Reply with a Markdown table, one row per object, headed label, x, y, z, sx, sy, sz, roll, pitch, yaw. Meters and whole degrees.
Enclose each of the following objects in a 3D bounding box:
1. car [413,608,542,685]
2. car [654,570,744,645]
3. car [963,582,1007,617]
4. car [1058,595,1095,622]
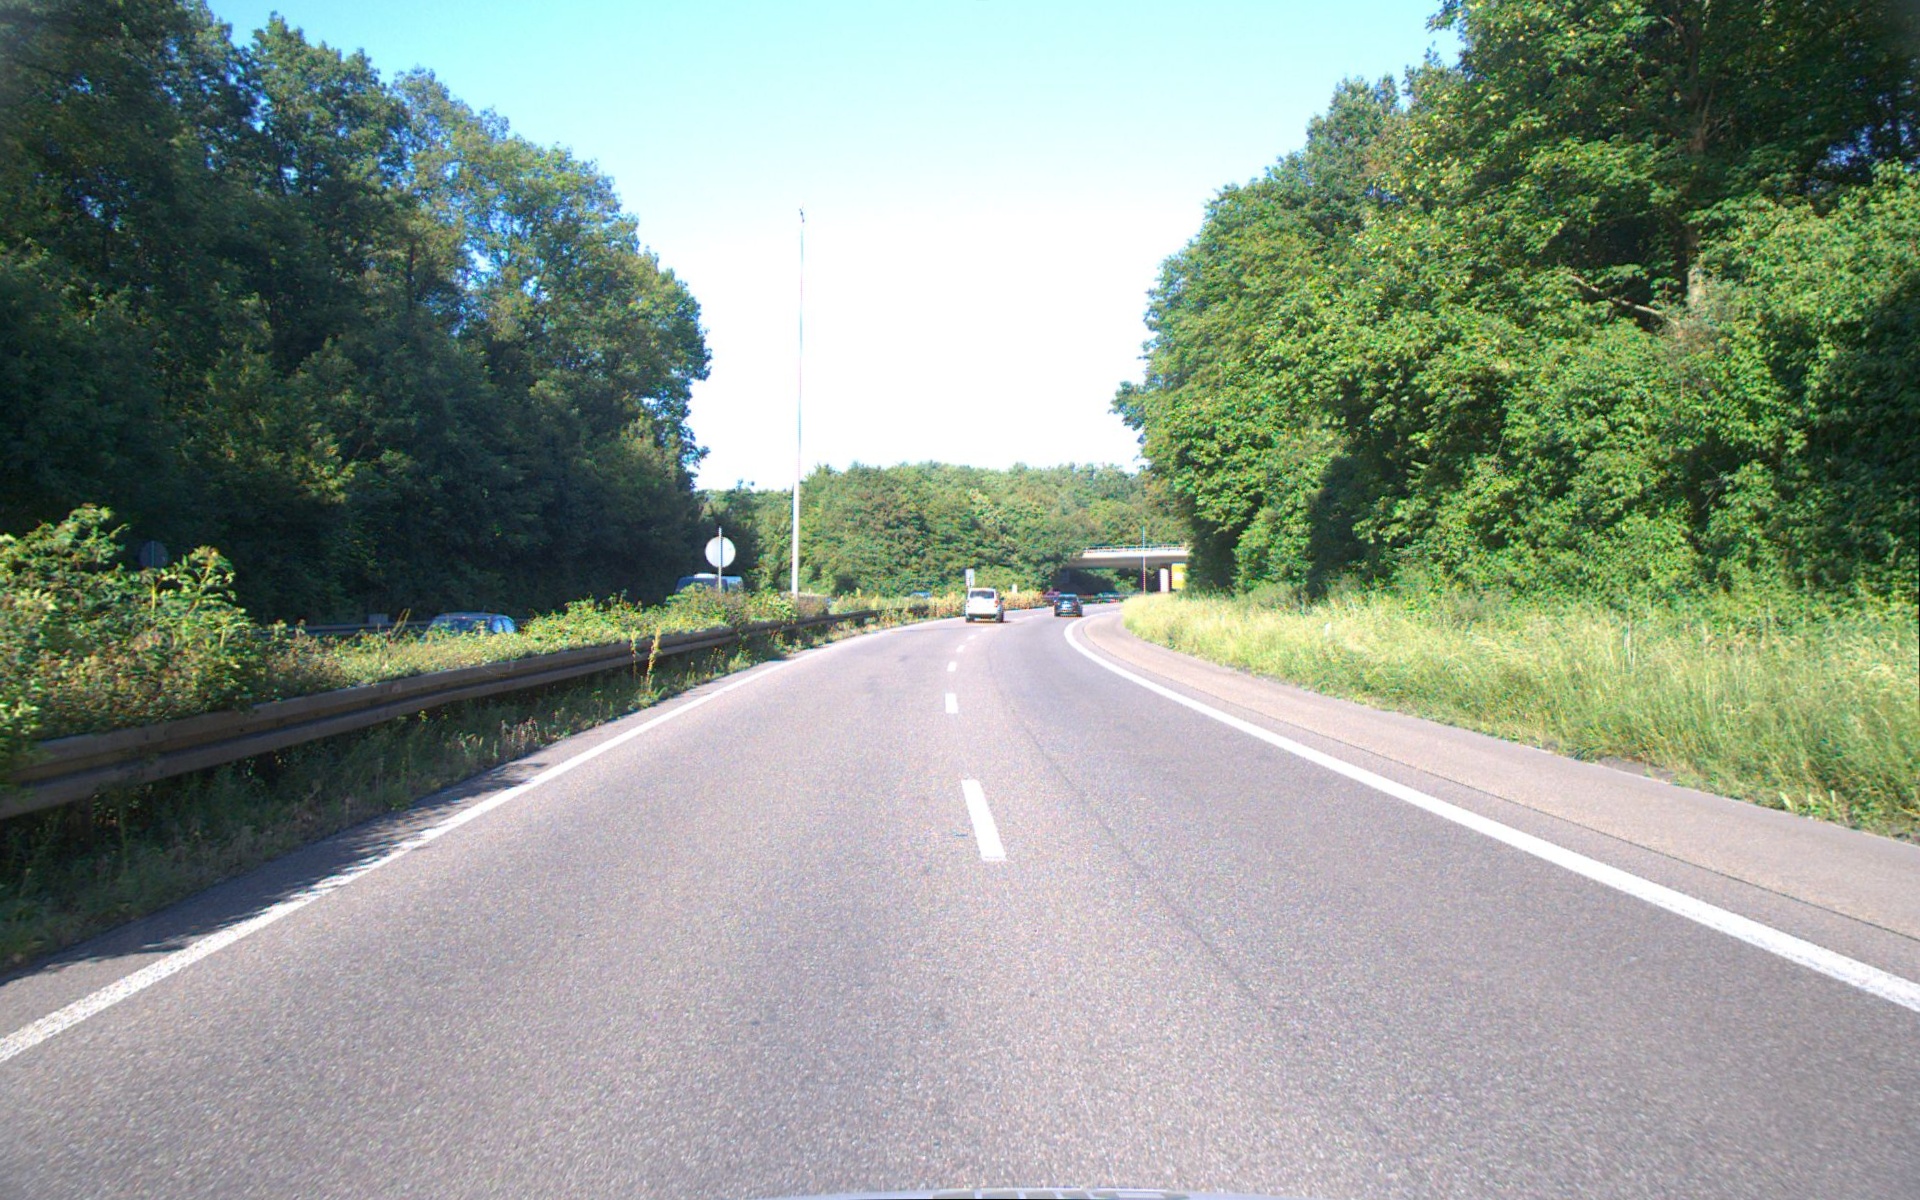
| label | x | y | z | sx | sy | sz | roll | pitch | yaw |
| --- | --- | --- | --- | --- | --- | --- | --- | --- | --- |
| car | -9.863 | 0.917 | 34.052 | 1.615 | 1.437 | 3.776 | 1 | 0 | -2 |
| car | -9.605 | 0.229 | 61.364 | 2.032 | 2.619 | 5.787 | 1 | 0 | 4 |
| car | 1.368 | -0.025 | 87.871 | 1.910 | 1.813 | 4.590 | 1 | 0 | 6 |
| car | 8.008 | 0.598 | 113.814 | 1.910 | 1.813 | 4.591 | 1 | 0 | 12 |
